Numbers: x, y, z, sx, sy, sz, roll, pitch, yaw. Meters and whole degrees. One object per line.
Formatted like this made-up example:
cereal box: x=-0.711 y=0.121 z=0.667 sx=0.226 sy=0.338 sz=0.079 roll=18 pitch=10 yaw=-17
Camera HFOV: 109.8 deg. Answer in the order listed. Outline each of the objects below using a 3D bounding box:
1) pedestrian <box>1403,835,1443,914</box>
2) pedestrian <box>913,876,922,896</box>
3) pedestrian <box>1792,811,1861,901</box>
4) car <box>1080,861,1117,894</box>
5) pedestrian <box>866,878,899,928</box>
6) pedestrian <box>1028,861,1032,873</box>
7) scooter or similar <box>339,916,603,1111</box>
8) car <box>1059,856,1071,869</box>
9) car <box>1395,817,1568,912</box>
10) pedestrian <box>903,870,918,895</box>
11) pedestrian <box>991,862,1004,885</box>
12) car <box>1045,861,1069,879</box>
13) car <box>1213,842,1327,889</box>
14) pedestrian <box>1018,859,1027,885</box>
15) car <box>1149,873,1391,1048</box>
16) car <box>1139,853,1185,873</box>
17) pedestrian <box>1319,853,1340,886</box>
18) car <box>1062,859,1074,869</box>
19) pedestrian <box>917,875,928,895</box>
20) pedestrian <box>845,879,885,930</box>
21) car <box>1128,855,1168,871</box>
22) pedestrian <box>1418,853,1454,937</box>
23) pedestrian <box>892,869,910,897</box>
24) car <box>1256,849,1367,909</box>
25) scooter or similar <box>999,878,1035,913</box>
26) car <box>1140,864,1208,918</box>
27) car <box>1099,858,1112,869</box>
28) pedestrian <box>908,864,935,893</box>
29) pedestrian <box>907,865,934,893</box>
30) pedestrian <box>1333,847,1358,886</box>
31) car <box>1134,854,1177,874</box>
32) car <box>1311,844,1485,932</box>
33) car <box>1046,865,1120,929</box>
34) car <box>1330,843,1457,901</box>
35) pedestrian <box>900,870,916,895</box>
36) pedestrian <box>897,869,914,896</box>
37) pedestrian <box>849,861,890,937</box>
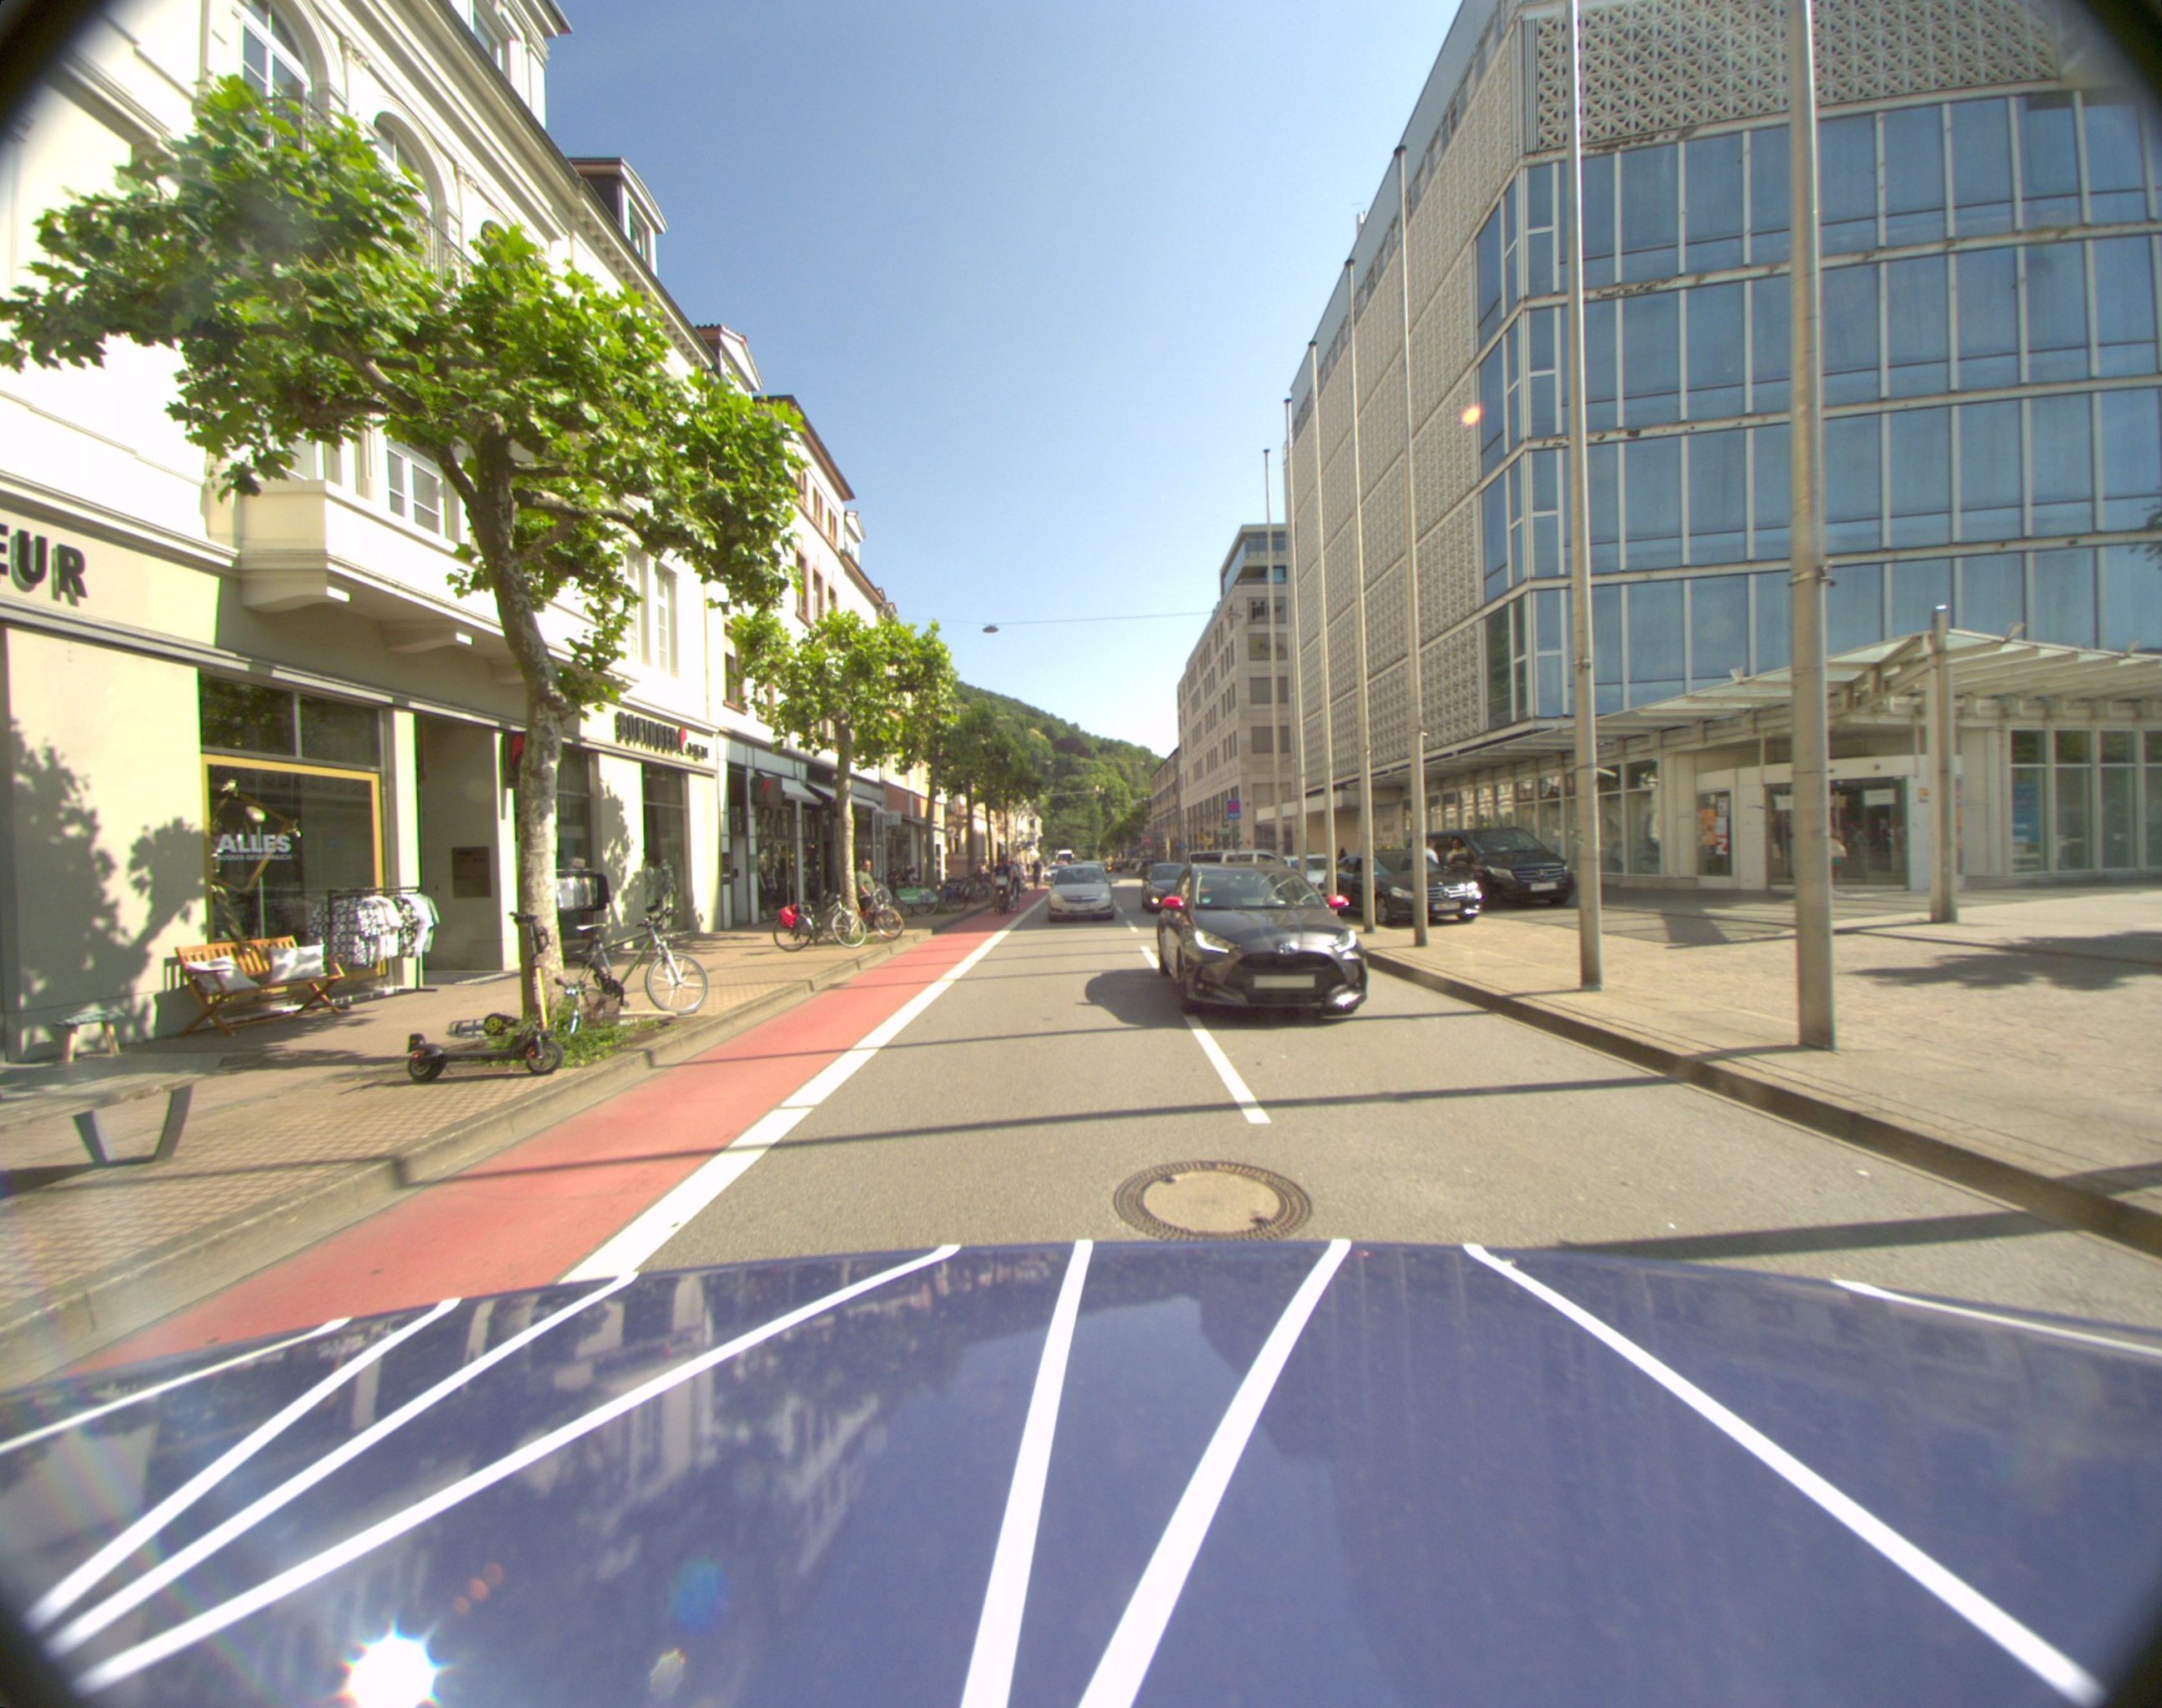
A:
pedestrian: x=7.892 y=0.469 z=17.515 sx=0.618 sy=1.782 sz=0.694 roll=-2 pitch=0 yaw=40
pedestrian: x=-8.084 y=1.560 z=37.572 sx=0.342 sy=0.962 sz=0.437 roll=-2 pitch=0 yaw=2
pedestrian: x=14.594 y=0.044 z=14.890 sx=0.684 sy=1.705 sz=0.723 roll=-1 pitch=1 yaw=10
car: x=0.874 y=1.207 z=40.148 sx=1.775 sy=1.469 sz=4.105 roll=-4 pitch=1 yaw=0
pedestrian: x=-5.209 y=1.278 z=19.966 sx=0.641 sy=1.226 sz=0.596 roll=-3 pitch=1 yaw=-2
pedestrian: x=-7.328 y=1.850 z=110.055 sx=0.482 sy=1.658 sz=0.868 roll=-1 pitch=0 yaw=0
scooter or similar: x=-4.504 y=1.157 z=5.651 sx=1.477 sy=1.267 sz=0.670 roll=-3 pitch=1 yaw=12
car: x=-2.537 y=1.345 z=119.850 sx=1.703 sy=1.900 sz=4.607 roll=-6 pitch=-1 yaw=-2
car: x=9.719 y=0.234 z=18.933 sx=1.836 sy=2.002 sz=4.685 roll=-2 pitch=0 yaw=1
pedestrian: x=-8.619 y=1.442 z=38.362 sx=0.641 sy=1.246 sz=0.608 roll=0 pitch=1 yaw=-2
pedestrian: x=-6.021 y=1.417 z=55.097 sx=0.640 sy=1.648 sz=0.791 roll=-2 pitch=-2 yaw=15
car: x=-2.131 y=1.409 z=68.125 sx=1.957 sy=1.416 sz=4.886 roll=-4 pitch=0 yaw=-1
car: x=8.403 y=0.531 z=33.925 sx=4.434 sy=1.898 sz=2.014 roll=-3 pitch=-1 yaw=37
pedestrian: x=-3.994 y=1.235 z=51.958 sx=0.453 sy=1.784 sz=0.608 roll=-3 pitch=0 yaw=-2
car: x=1.801 y=0.961 z=8.570 sx=1.868 sy=1.469 sz=4.108 roll=0 pitch=-1 yaw=2
car: x=7.996 y=0.897 z=75.382 sx=4.025 sy=1.593 sz=1.961 roll=-4 pitch=1 yaw=23
pedestrian: x=11.085 y=0.675 z=33.901 sx=0.594 sy=1.428 sz=0.641 roll=-5 pitch=2 yaw=-2
car: x=-2.136 y=1.642 z=124.863 sx=1.868 sy=1.478 sz=4.414 roll=-2 pitch=0 yaw=-2
pedestrian: x=-7.975 y=1.571 z=38.237 sx=0.365 sy=0.962 sz=0.437 roll=-2 pitch=0 yaw=2
pedestrian: x=-5.503 y=1.279 z=19.374 sx=0.789 sy=1.236 sz=0.576 roll=-3 pitch=1 yaw=-2
car: x=8.200 y=1.074 z=92.796 sx=4.493 sy=1.424 sz=1.865 roll=-7 pitch=0 yaw=20
pedestrian: x=7.754 y=0.876 z=16.605 sx=0.531 sy=1.782 sz=0.540 roll=-2 pitch=0 yaw=40
pedestrian: x=-8.676 y=1.402 z=36.622 sx=0.683 sy=1.325 sz=0.532 roll=-2 pitch=0 yaw=-2
car: x=6.636 y=0.689 z=22.442 sx=1.803 sy=1.514 sz=4.739 roll=-3 pitch=-1 yaw=1
scooter or similar: x=-2.133 y=1.375 z=25.439 sx=0.784 sy=1.054 sz=1.127 roll=-3 pitch=0 yaw=14
car: x=2.769 y=1.071 z=23.351 sx=1.733 sy=1.389 sz=4.107 roll=-2 pitch=0 yaw=3
car: x=3.508 y=1.356 z=108.624 sx=1.734 sy=1.389 sz=4.107 roll=-2 pitch=0 yaw=1
pedestrian: x=-8.709 y=1.326 z=41.404 sx=1.255 sy=1.475 sz=0.837 roll=-2 pitch=1 yaw=-2
pedestrian: x=-8.559 y=1.341 z=40.541 sx=1.236 sy=1.414 sz=0.789 roll=-1 pitch=1 yaw=-2
pedestrian: x=11.787 y=0.537 z=33.874 sx=0.789 sy=1.651 sz=0.641 roll=-5 pitch=2 yaw=-2
car: x=7.787 y=1.015 z=78.794 sx=4.166 sy=1.627 sz=2.103 roll=-6 pitch=0 yaw=9
car: x=6.680 y=0.645 z=16.643 sx=1.765 sy=1.590 sz=4.709 roll=-2 pitch=0 yaw=0
car: x=-0.016 y=1.085 z=20.909 sx=1.791 sy=1.483 sz=4.367 roll=-2 pitch=0 yaw=-2
car: x=9.914 y=0.520 z=24.556 sx=1.999 sy=1.601 sz=4.399 roll=-3 pitch=0 yaw=-4
pedestrian: x=-8.612 y=1.421 z=37.764 sx=0.683 sy=1.246 sz=0.532 roll=0 pitch=0 yaw=-2
pedestrian: x=-8.590 y=1.393 z=37.219 sx=0.683 sy=1.330 sz=0.532 roll=-2 pitch=0 yaw=-2
pedestrian: x=-4.878 y=1.023 z=17.597 sx=0.641 sy=1.679 sz=0.843 roll=-3 pitch=0 yaw=-2
